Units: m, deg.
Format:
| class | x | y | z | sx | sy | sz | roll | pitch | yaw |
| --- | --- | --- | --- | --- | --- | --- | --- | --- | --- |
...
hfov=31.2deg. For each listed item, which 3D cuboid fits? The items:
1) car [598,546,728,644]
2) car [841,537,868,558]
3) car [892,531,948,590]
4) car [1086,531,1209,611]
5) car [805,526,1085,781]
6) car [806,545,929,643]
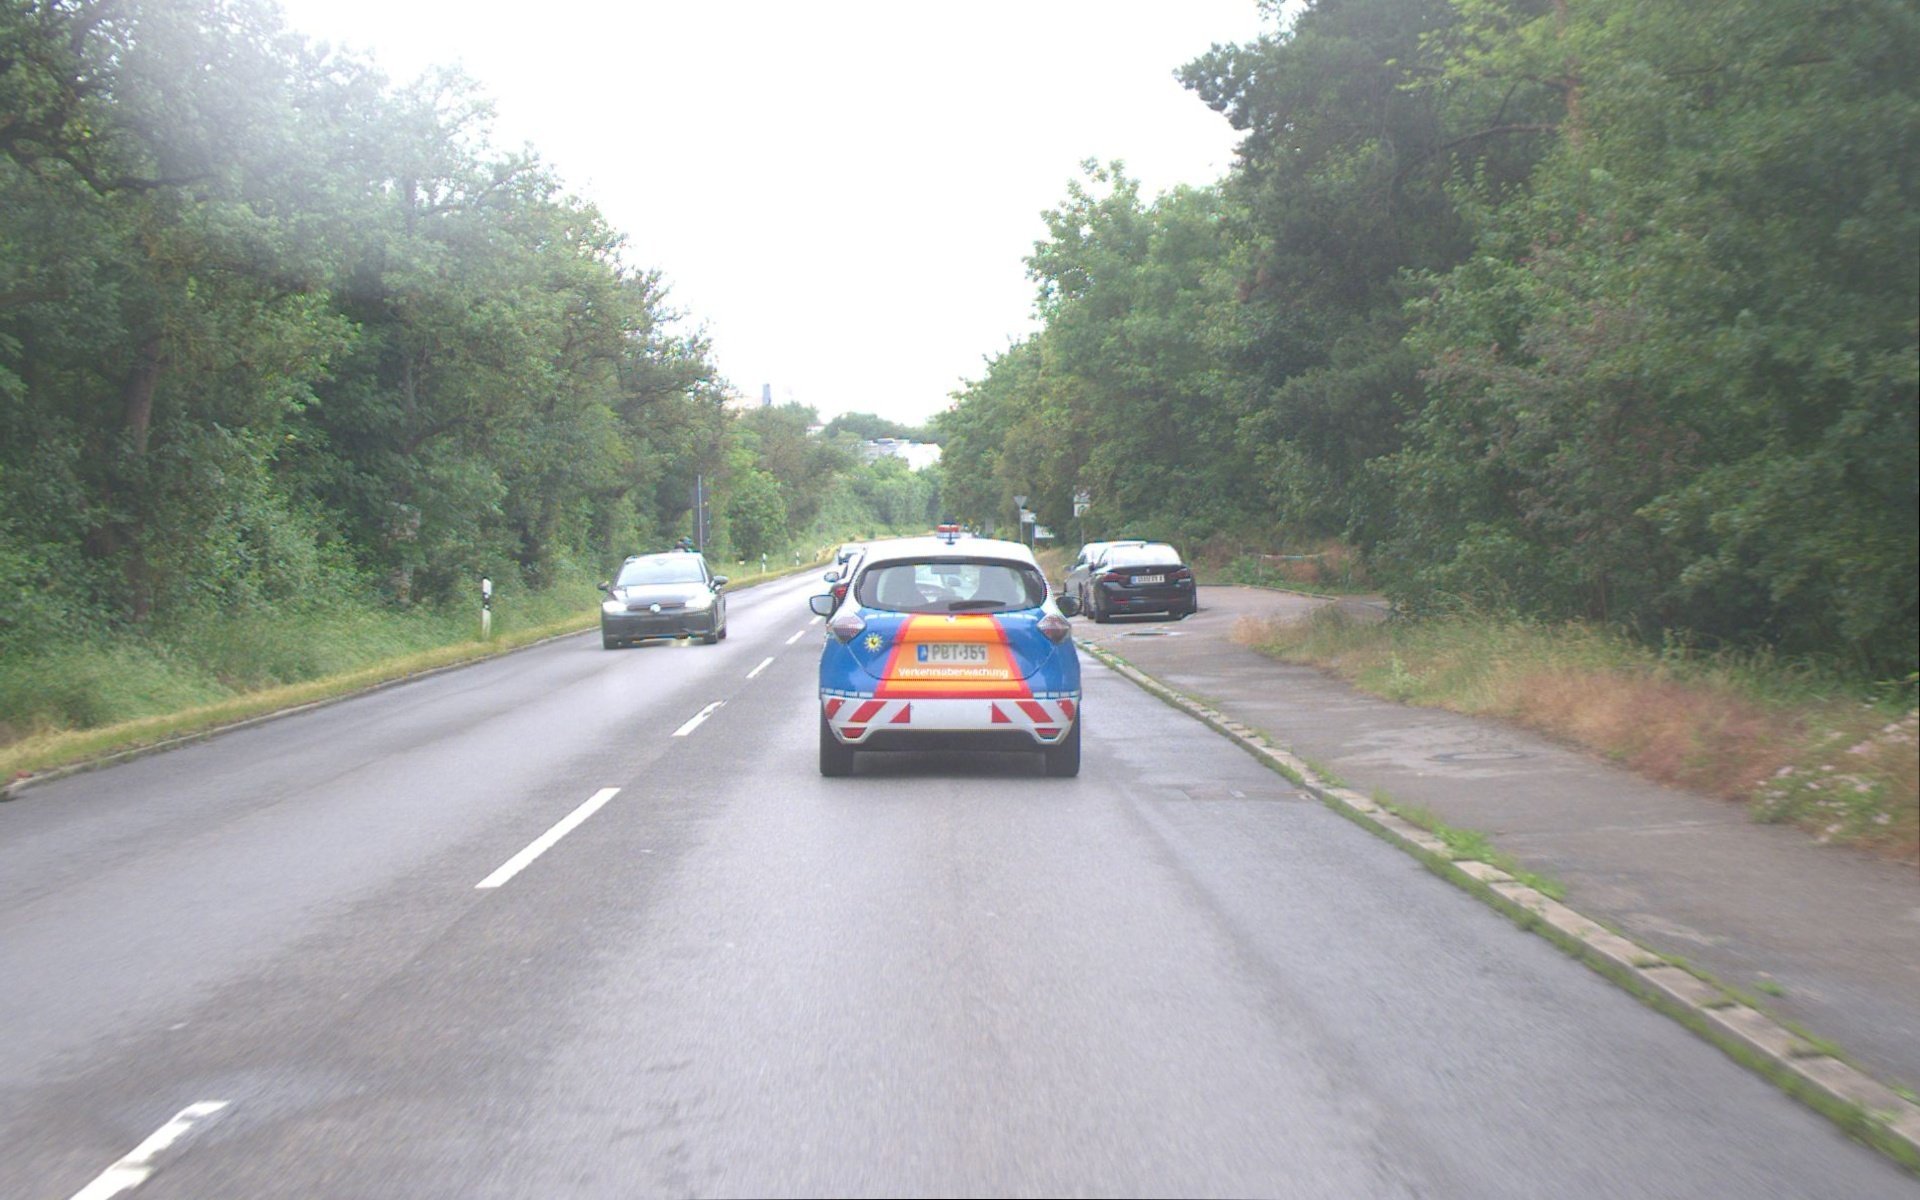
| class | x | y | z | sx | sy | sz | roll | pitch | yaw |
| --- | --- | --- | --- | --- | --- | --- | --- | --- | --- |
| car | -4.640 | -0.112 | 54.186 | 1.710 | 1.394 | 4.150 | -3 | 1 | -1 |
| car | -7.357 | -3.666 | 239.250 | 1.884 | 1.382 | 4.001 | 0 | 1 | -2 |
| car | -1.310 | -1.311 | 112.059 | 1.743 | 1.875 | 4.000 | 0 | 1 | -2 |
| car | 3.381 | -0.549 | 62.734 | 1.993 | 1.371 | 4.000 | -1 | 1 | 0 |
| car | -0.122 | 0.296 | 23.587 | 1.752 | 1.550 | 3.793 | 0 | 2 | -1 |
| car | -1.272 | -0.104 | 48.435 | 1.598 | 1.282 | 3.476 | -1 | 1 | 0 |
